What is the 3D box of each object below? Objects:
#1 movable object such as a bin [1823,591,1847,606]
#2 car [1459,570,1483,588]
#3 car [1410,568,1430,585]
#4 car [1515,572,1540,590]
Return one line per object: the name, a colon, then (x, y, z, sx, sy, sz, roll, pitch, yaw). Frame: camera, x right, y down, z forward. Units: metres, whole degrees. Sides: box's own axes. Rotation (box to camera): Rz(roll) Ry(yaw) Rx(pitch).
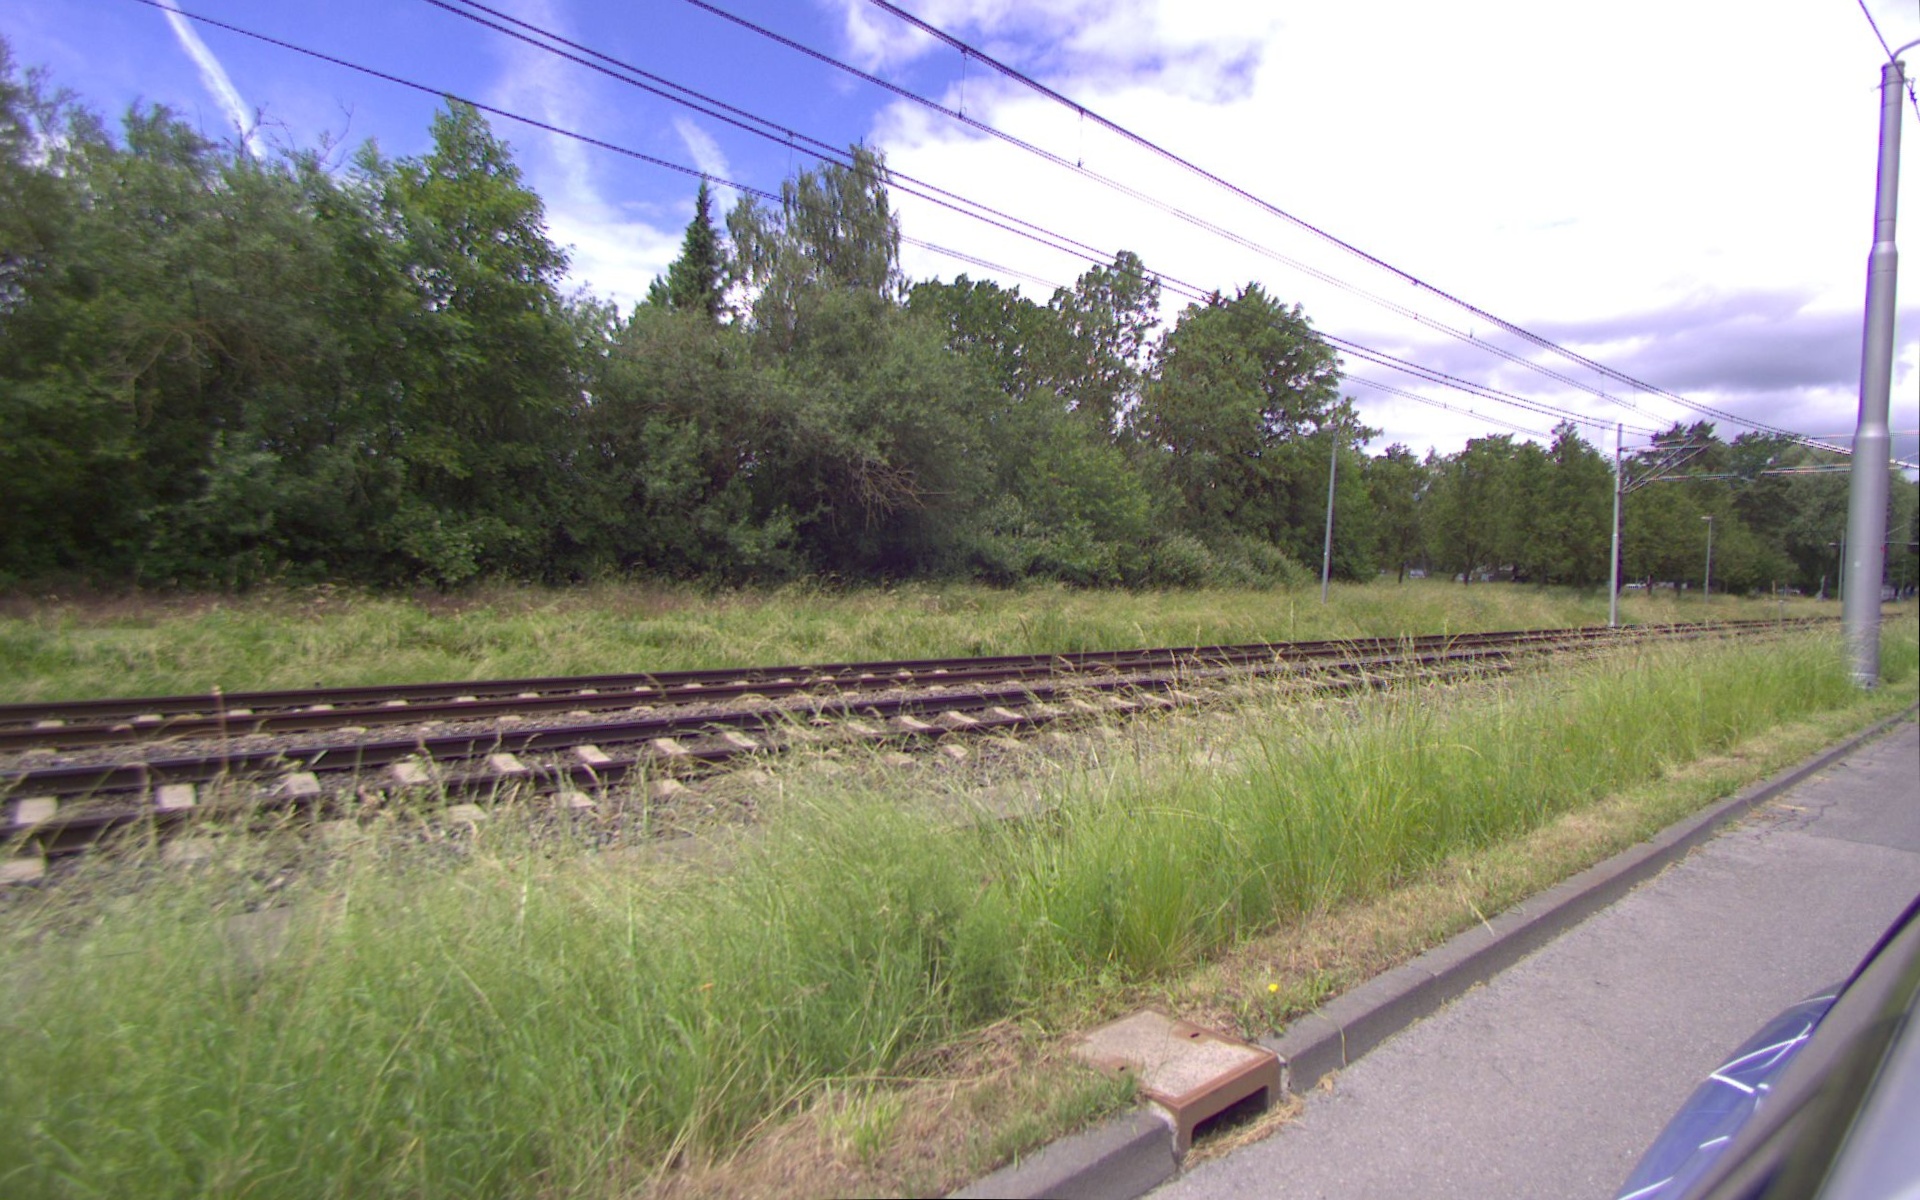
movable object such as a bin: (82.592, -0.157, 95.504, 1.612, 1.326, 0.660, 2, 2, 1)
car: (55.546, -2.316, 110.067, 1.979, 1.834, 3.968, 2, 2, 24)
car: (51.048, -2.579, 112.370, 1.979, 1.834, 3.968, 2, 2, 24)
car: (59.702, -1.997, 106.465, 1.740, 1.826, 3.947, 3, 2, 37)
